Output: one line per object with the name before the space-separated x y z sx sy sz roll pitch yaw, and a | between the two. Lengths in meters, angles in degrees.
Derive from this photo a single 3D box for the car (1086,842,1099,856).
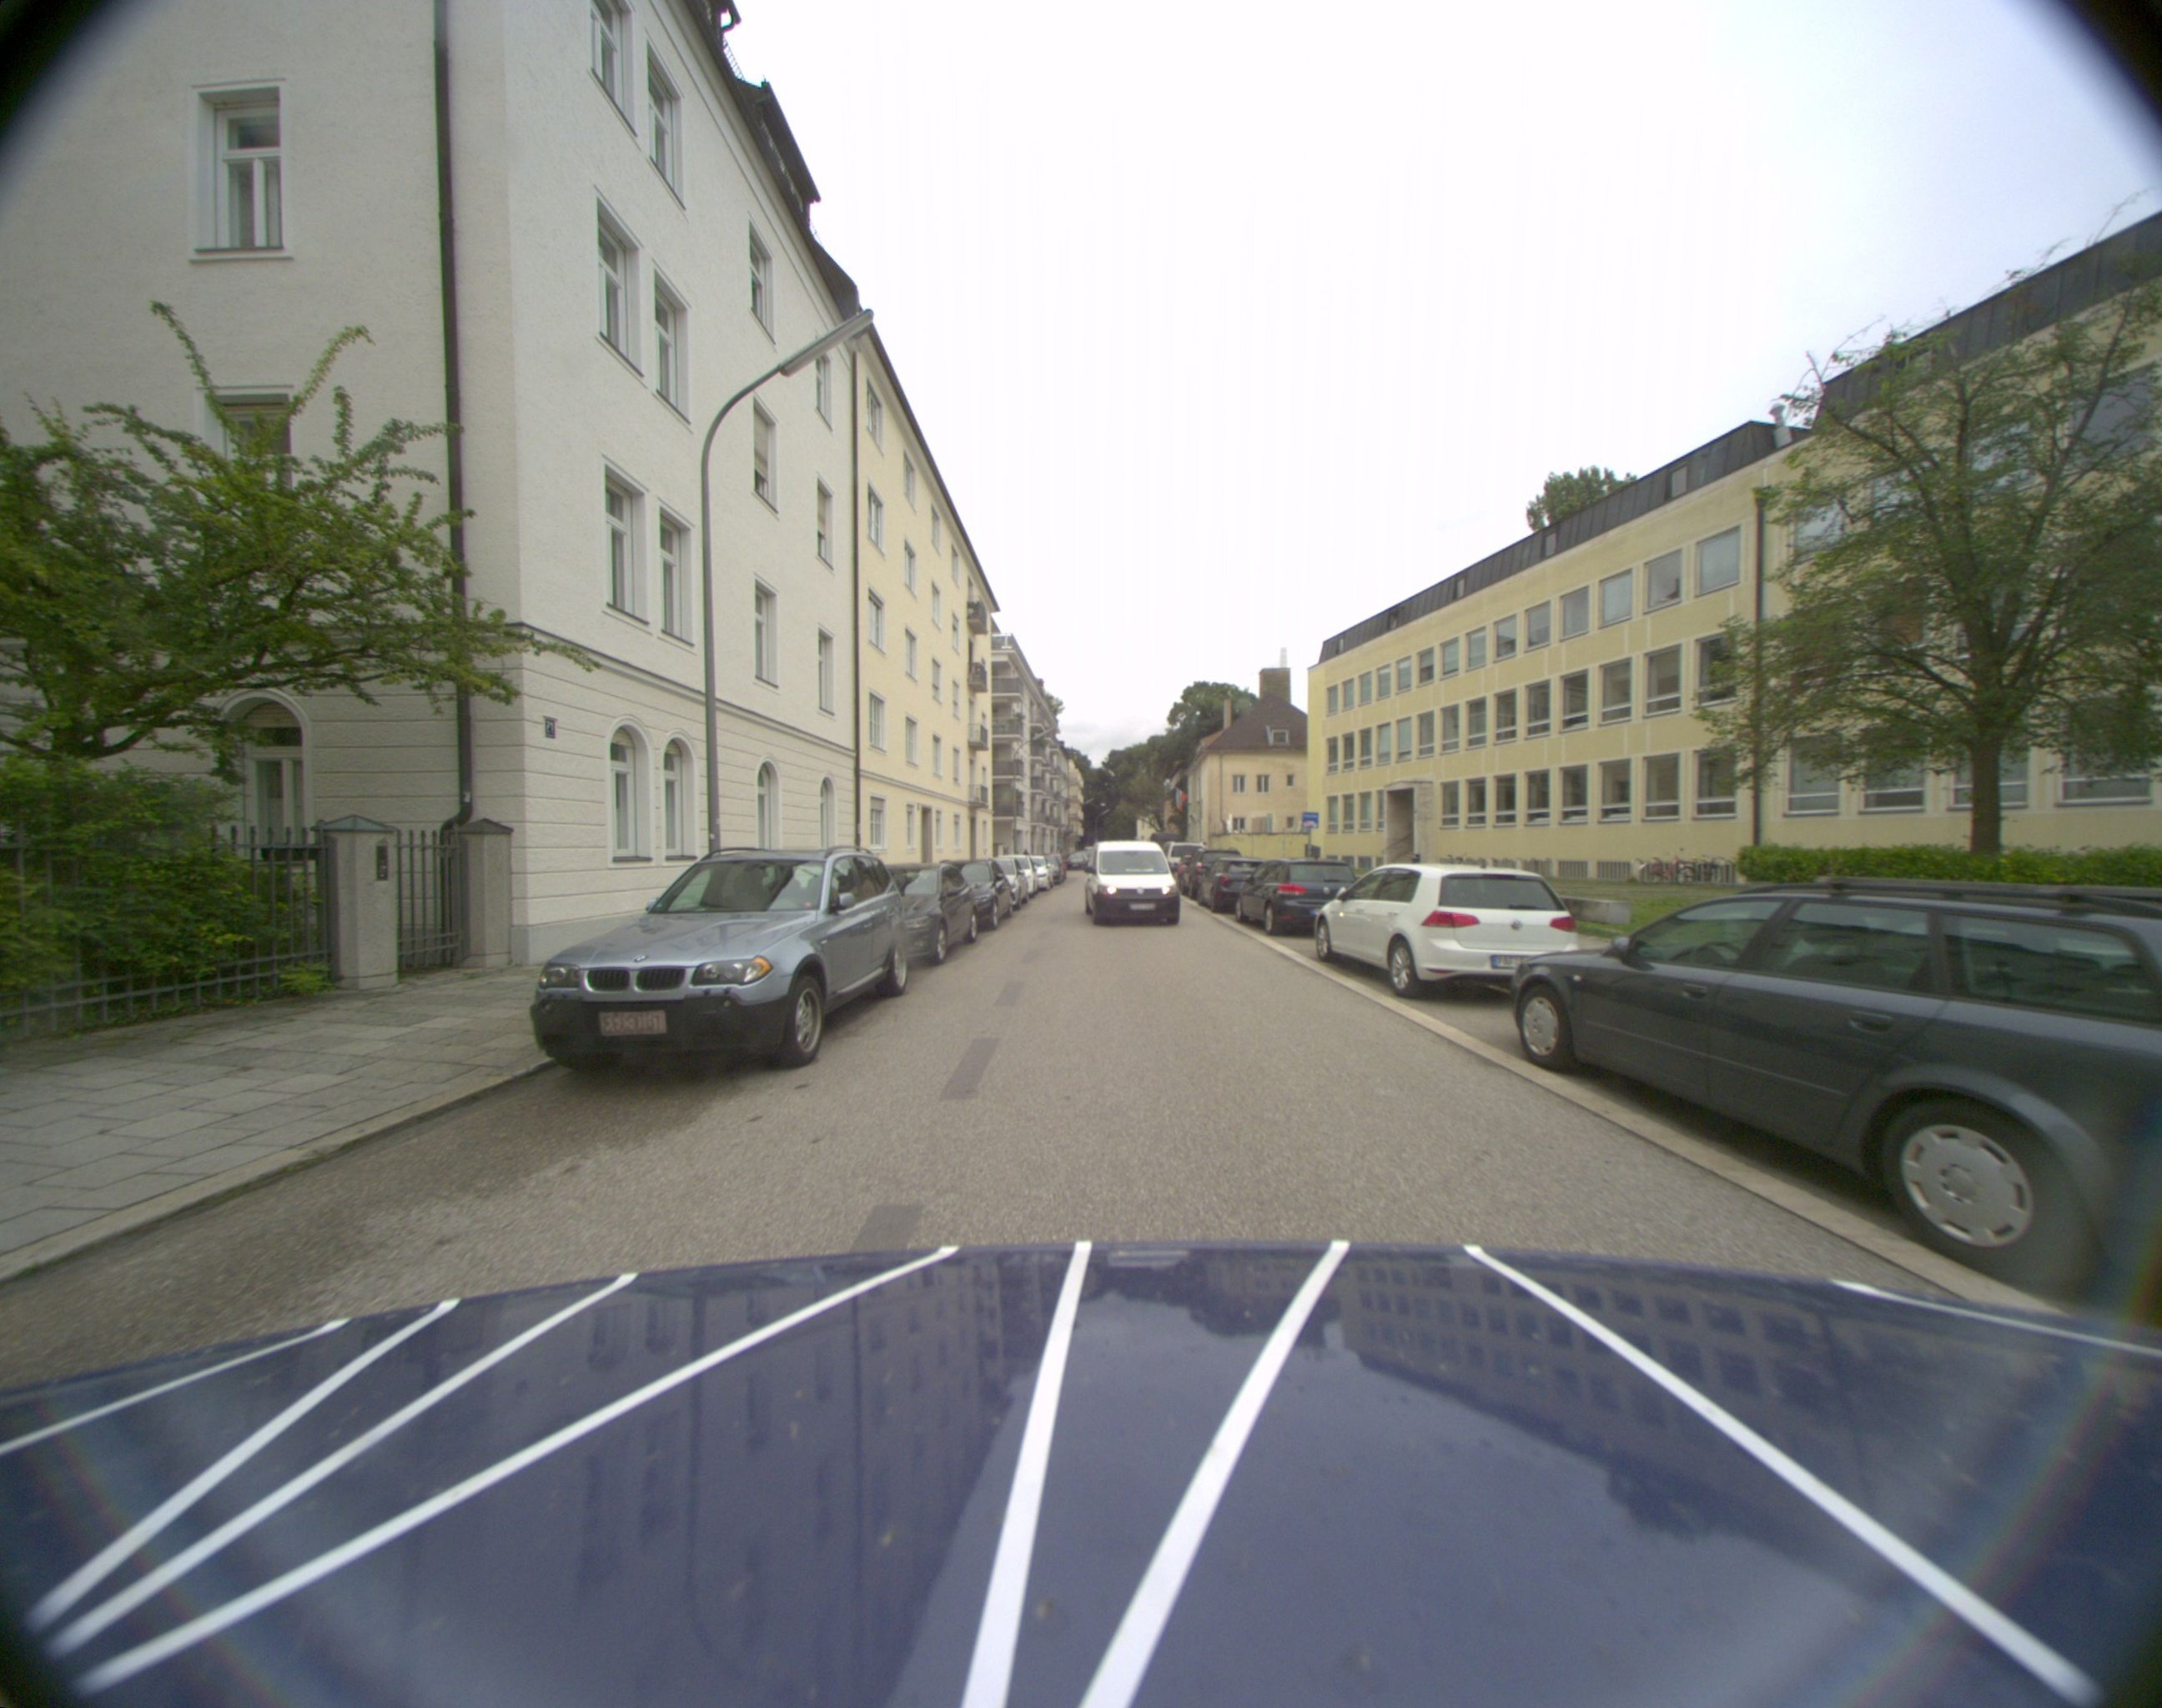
car | 1.635 -0.699 103.346 1.639 1.726 3.880 -2 1 2

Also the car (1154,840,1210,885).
car | 4.596 0.331 35.262 1.949 1.965 4.354 1 1 0

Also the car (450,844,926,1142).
car | -2.840 0.827 6.817 1.782 1.720 4.389 -2 1 2

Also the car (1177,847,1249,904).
car | 4.340 0.646 25.535 1.744 1.679 4.122 1 1 1

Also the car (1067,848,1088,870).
car | -0.291 0.375 66.084 1.639 1.726 3.880 -2 1 2

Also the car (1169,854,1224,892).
car | 4.684 0.728 31.148 1.744 1.396 3.455 1 1 1

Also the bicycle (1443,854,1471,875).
bicycle | 17.353 0.481 35.065 1.244 0.897 0.288 -3 2 -13

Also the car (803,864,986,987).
car | -2.723 0.973 12.075 1.707 1.434 4.055 -2 1 2

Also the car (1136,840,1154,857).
car | 8.675 -0.752 103.528 2.214 2.070 4.959 -2 1 2

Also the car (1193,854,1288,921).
car | 4.136 0.815 20.212 1.744 1.459 3.685 -2 1 1

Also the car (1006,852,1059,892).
car | -1.982 0.705 32.171 1.841 1.450 4.022 -2 1 1

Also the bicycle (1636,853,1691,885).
bicycle | 19.688 0.495 25.687 1.739 0.984 0.389 -3 2 -9

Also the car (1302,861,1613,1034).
car | 4.165 0.916 9.237 1.726 1.521 3.999 1 1 -1

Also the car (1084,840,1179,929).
car | 1.078 0.571 17.655 1.884 1.762 4.924 0 1 2

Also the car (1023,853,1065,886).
car | -1.779 0.710 37.453 1.742 1.367 4.022 -2 1 1

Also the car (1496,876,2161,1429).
car | 4.070 0.957 3.701 1.726 1.473 4.203 1 1 -1

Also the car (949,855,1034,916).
car | -2.504 0.839 22.422 1.841 1.426 4.653 -2 1 1

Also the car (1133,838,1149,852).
car | 9.402 -1.390 119.852 2.214 2.070 4.959 -2 1 2

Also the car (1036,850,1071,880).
car | -1.525 0.599 43.372 1.742 1.507 4.022 -2 1 1

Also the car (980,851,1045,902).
car | -2.390 0.753 27.495 1.841 1.538 4.267 -2 1 1

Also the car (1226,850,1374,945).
car | 4.235 0.754 15.379 1.744 1.537 4.081 -2 1 0

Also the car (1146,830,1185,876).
car | 5.341 -0.128 48.647 1.998 2.702 4.959 -2 1 2

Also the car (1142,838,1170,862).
car | 6.986 -0.428 71.445 2.214 2.070 4.959 -2 1 2

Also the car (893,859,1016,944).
car | -2.580 0.908 16.589 1.802 1.406 4.528 -2 1 1

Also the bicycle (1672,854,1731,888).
bicycle | 19.733 0.533 24.160 1.739 0.984 0.389 -3 2 -9
